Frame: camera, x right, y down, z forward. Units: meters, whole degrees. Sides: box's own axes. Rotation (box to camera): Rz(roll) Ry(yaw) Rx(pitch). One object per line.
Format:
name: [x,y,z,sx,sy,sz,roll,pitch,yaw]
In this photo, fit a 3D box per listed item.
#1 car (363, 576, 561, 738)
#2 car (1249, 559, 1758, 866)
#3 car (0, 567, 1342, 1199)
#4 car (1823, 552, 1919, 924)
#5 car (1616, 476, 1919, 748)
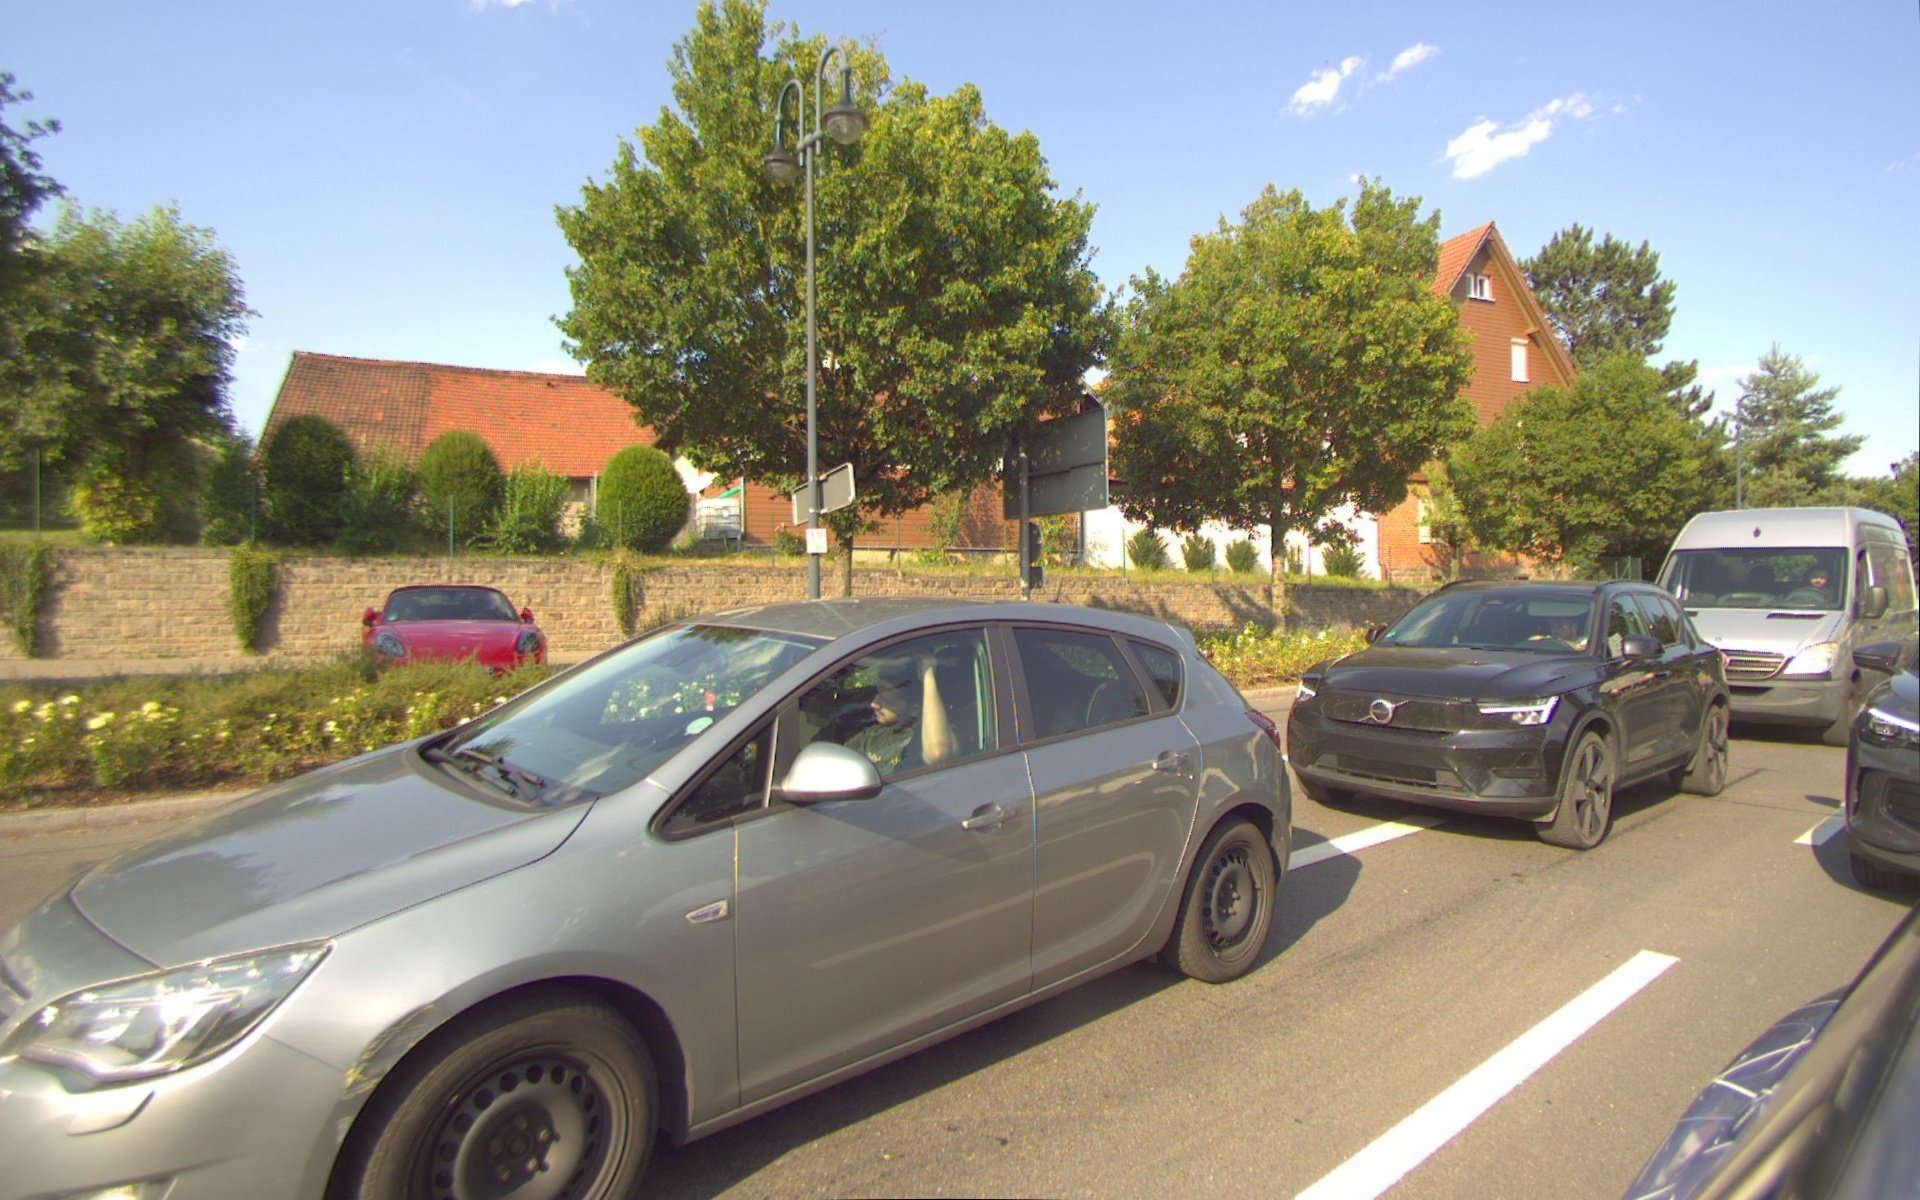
car: [-5.895,0.522,11.710,1.743,1.510,4.156,0,0,-31]
car: [4.162,0.564,7.448,4.242,1.629,1.844,0,2,-40]
car: [-0.558,0.663,3.519,4.244,1.471,1.765,0,2,-42]
car: [6.215,0.615,5.333,4.242,1.629,1.844,0,2,-40]
car: [10.196,0.081,12.362,5.938,2.601,1.992,0,1,-40]
